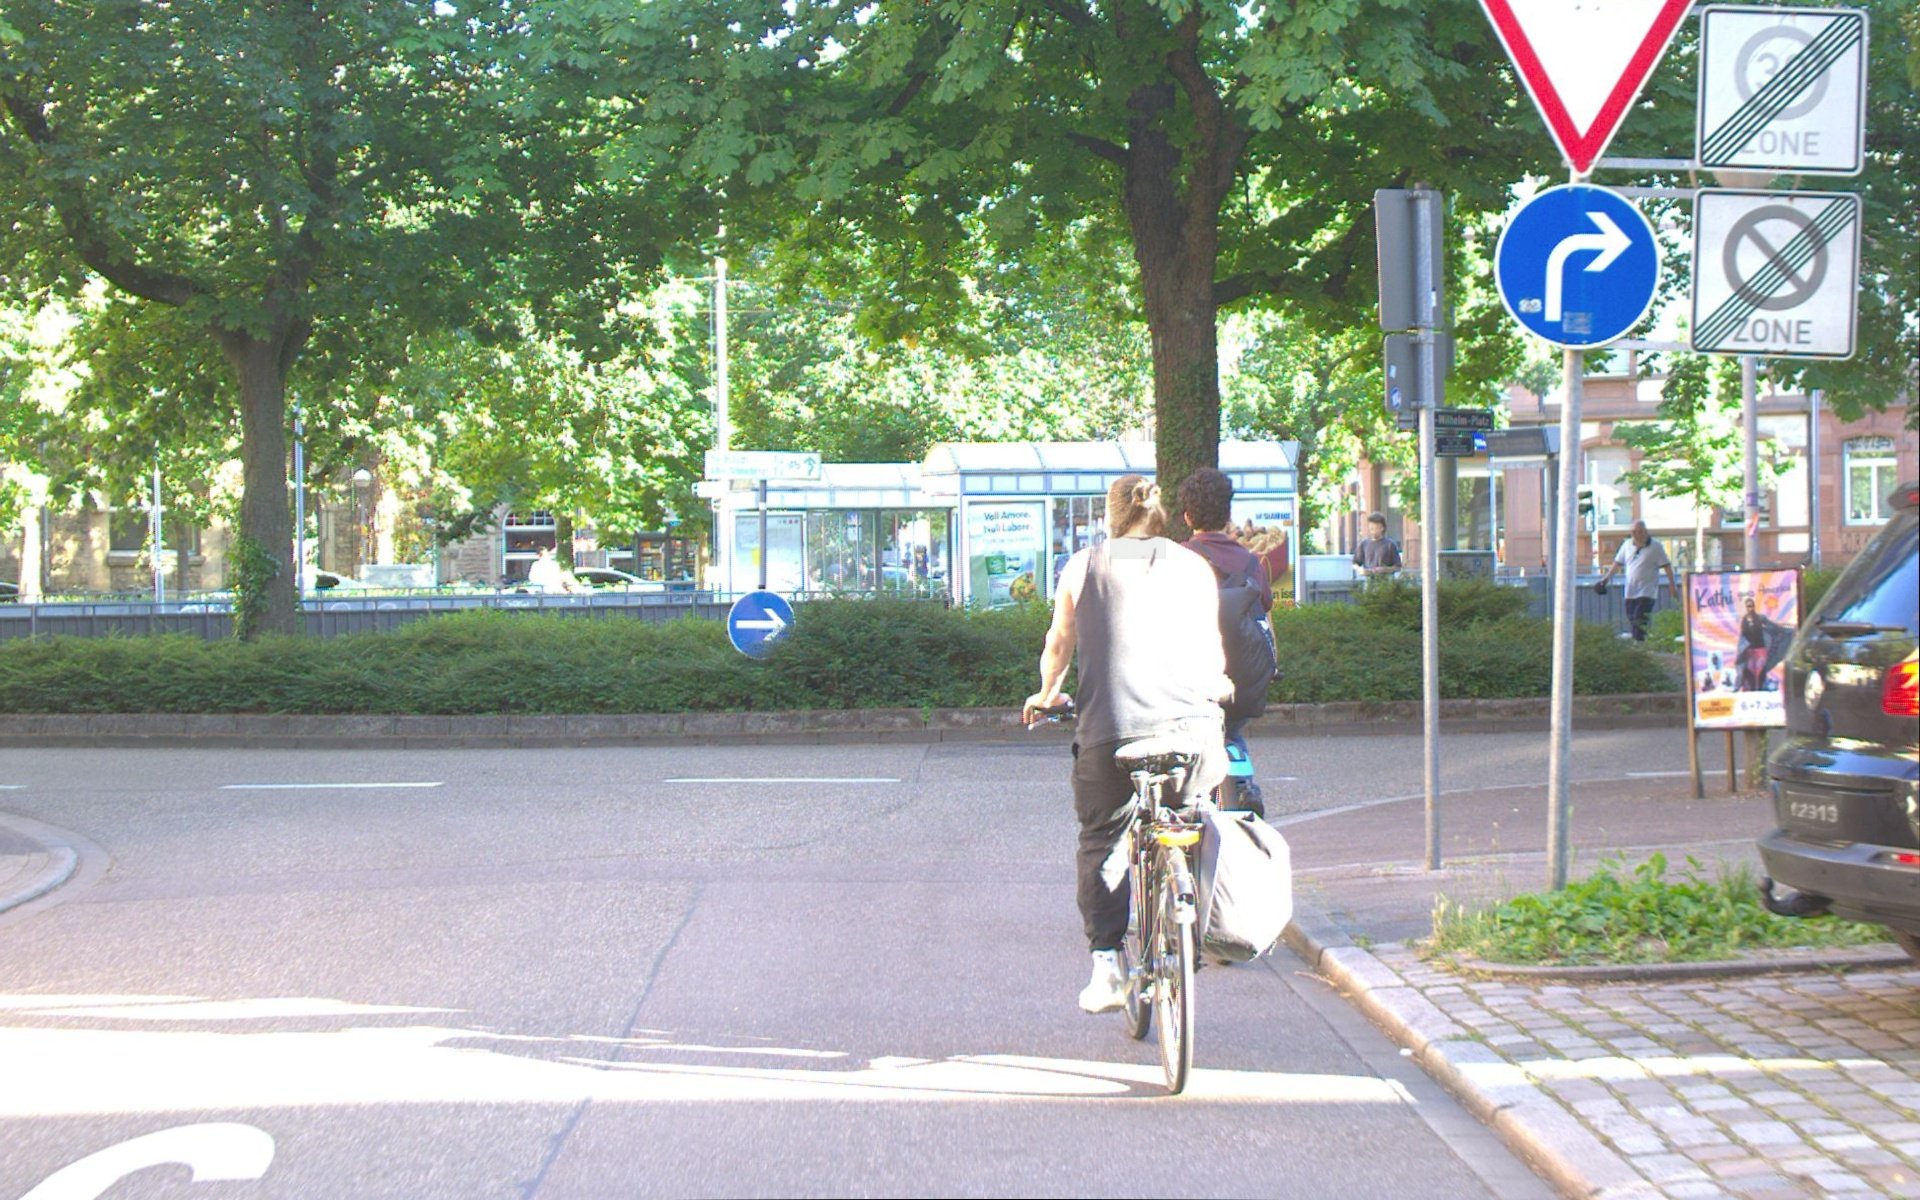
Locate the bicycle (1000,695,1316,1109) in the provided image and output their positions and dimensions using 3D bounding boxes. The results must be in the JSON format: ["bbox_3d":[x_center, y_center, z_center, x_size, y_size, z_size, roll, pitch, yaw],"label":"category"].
[{"bbox_3d":[0.536,0.827,10.106,0.737,1.008,2.061,2,0,-1],"label":"bicycle"}]

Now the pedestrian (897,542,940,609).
[{"bbox_3d":[-1.023,-0.609,84.848,1.000,1.625,1.064,-1,1,-2],"label":"pedestrian"}]

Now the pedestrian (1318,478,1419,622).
[{"bbox_3d":[4.810,-0.591,40.509,0.898,1.678,0.818,0,1,33],"label":"pedestrian"}]

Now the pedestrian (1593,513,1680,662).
[{"bbox_3d":[7.688,-0.147,39.102,0.916,1.678,0.780,-1,1,9],"label":"pedestrian"}]

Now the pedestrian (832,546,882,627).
[{"bbox_3d":[-2.008,-0.270,66.891,0.809,1.538,0.821,1,1,-12],"label":"pedestrian"}]

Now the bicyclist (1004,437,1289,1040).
[{"bbox_3d":[0.527,0.382,10.056,0.752,1.676,0.913,-1,1,-1],"label":"bicyclist"}]

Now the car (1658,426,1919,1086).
[{"bbox_3d":[4.368,0.317,10.078,4.105,1.707,2.024,-2,2,-5],"label":"car"}]

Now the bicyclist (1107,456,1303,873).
[{"bbox_3d":[0.912,0.236,13.022,0.671,1.509,1.069,-1,0,1],"label":"bicyclist"}]

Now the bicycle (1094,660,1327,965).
[{"bbox_3d":[0.919,0.765,13.114,0.674,1.050,2.061,0,-1,-2],"label":"bicycle"}]

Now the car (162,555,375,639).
[{"bbox_3d":[-14.414,-0.085,71.766,3.938,1.673,1.953,-1,1,-44],"label":"car"}]

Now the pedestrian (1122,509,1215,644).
[{"bbox_3d":[2.960,-0.340,48.845,1.016,1.891,0.912,-1,1,-23],"label":"pedestrian"}]

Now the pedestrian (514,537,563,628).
[{"bbox_3d":[-7.878,-0.328,64.262,0.701,1.689,0.671,1,1,-23],"label":"pedestrian"}]

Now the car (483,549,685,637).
[{"bbox_3d":[-8.315,-0.177,75.988,3.986,1.864,2.000,-1,1,-26],"label":"car"}]
